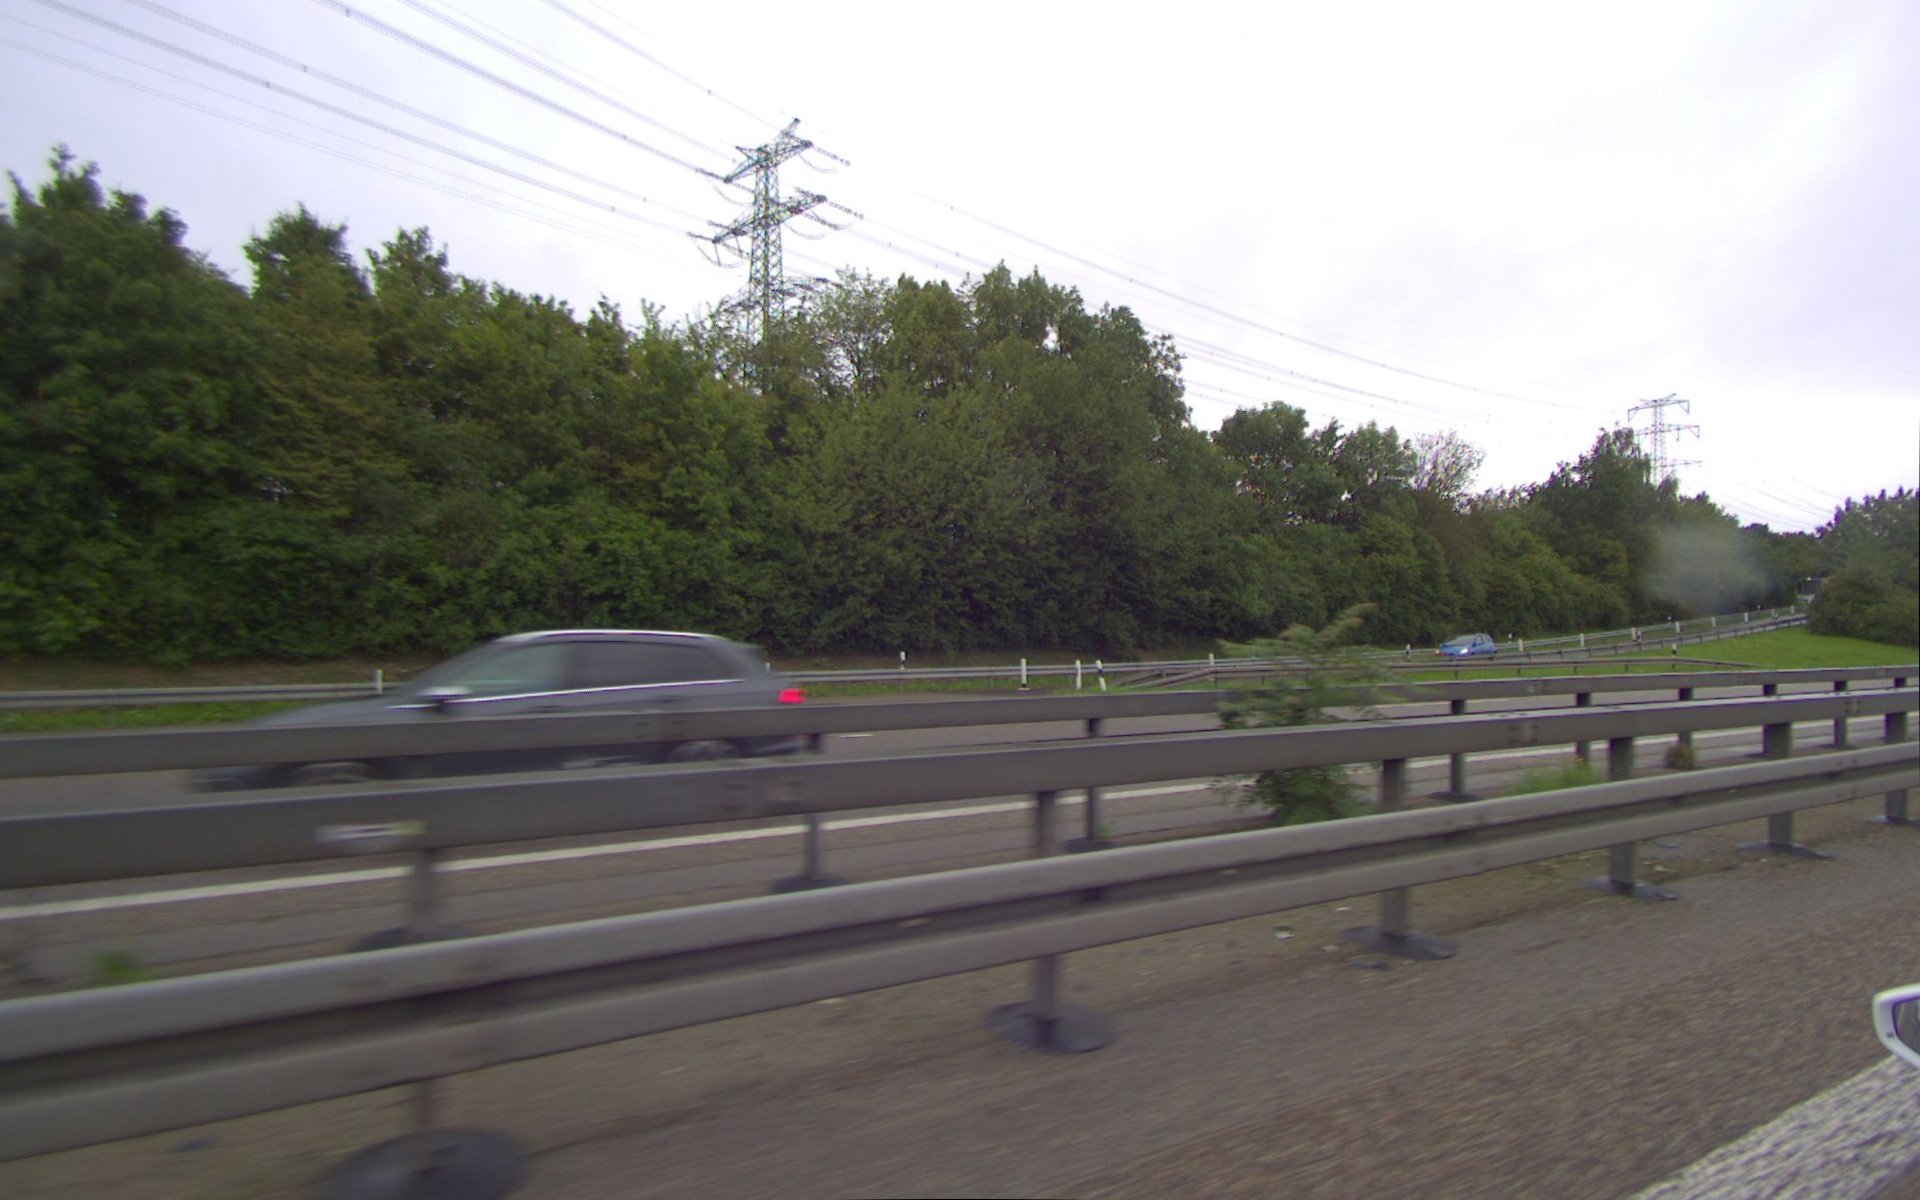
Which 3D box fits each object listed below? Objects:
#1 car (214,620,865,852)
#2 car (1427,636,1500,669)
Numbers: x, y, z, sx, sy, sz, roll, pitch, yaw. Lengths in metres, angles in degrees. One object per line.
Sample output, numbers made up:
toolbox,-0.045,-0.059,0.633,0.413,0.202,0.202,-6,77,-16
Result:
car,-3.338,0.968,8.652,4.734,1.532,1.814,1,-2,-31
car,25.586,2.632,50.962,3.968,1.563,1.951,1,-2,-41
